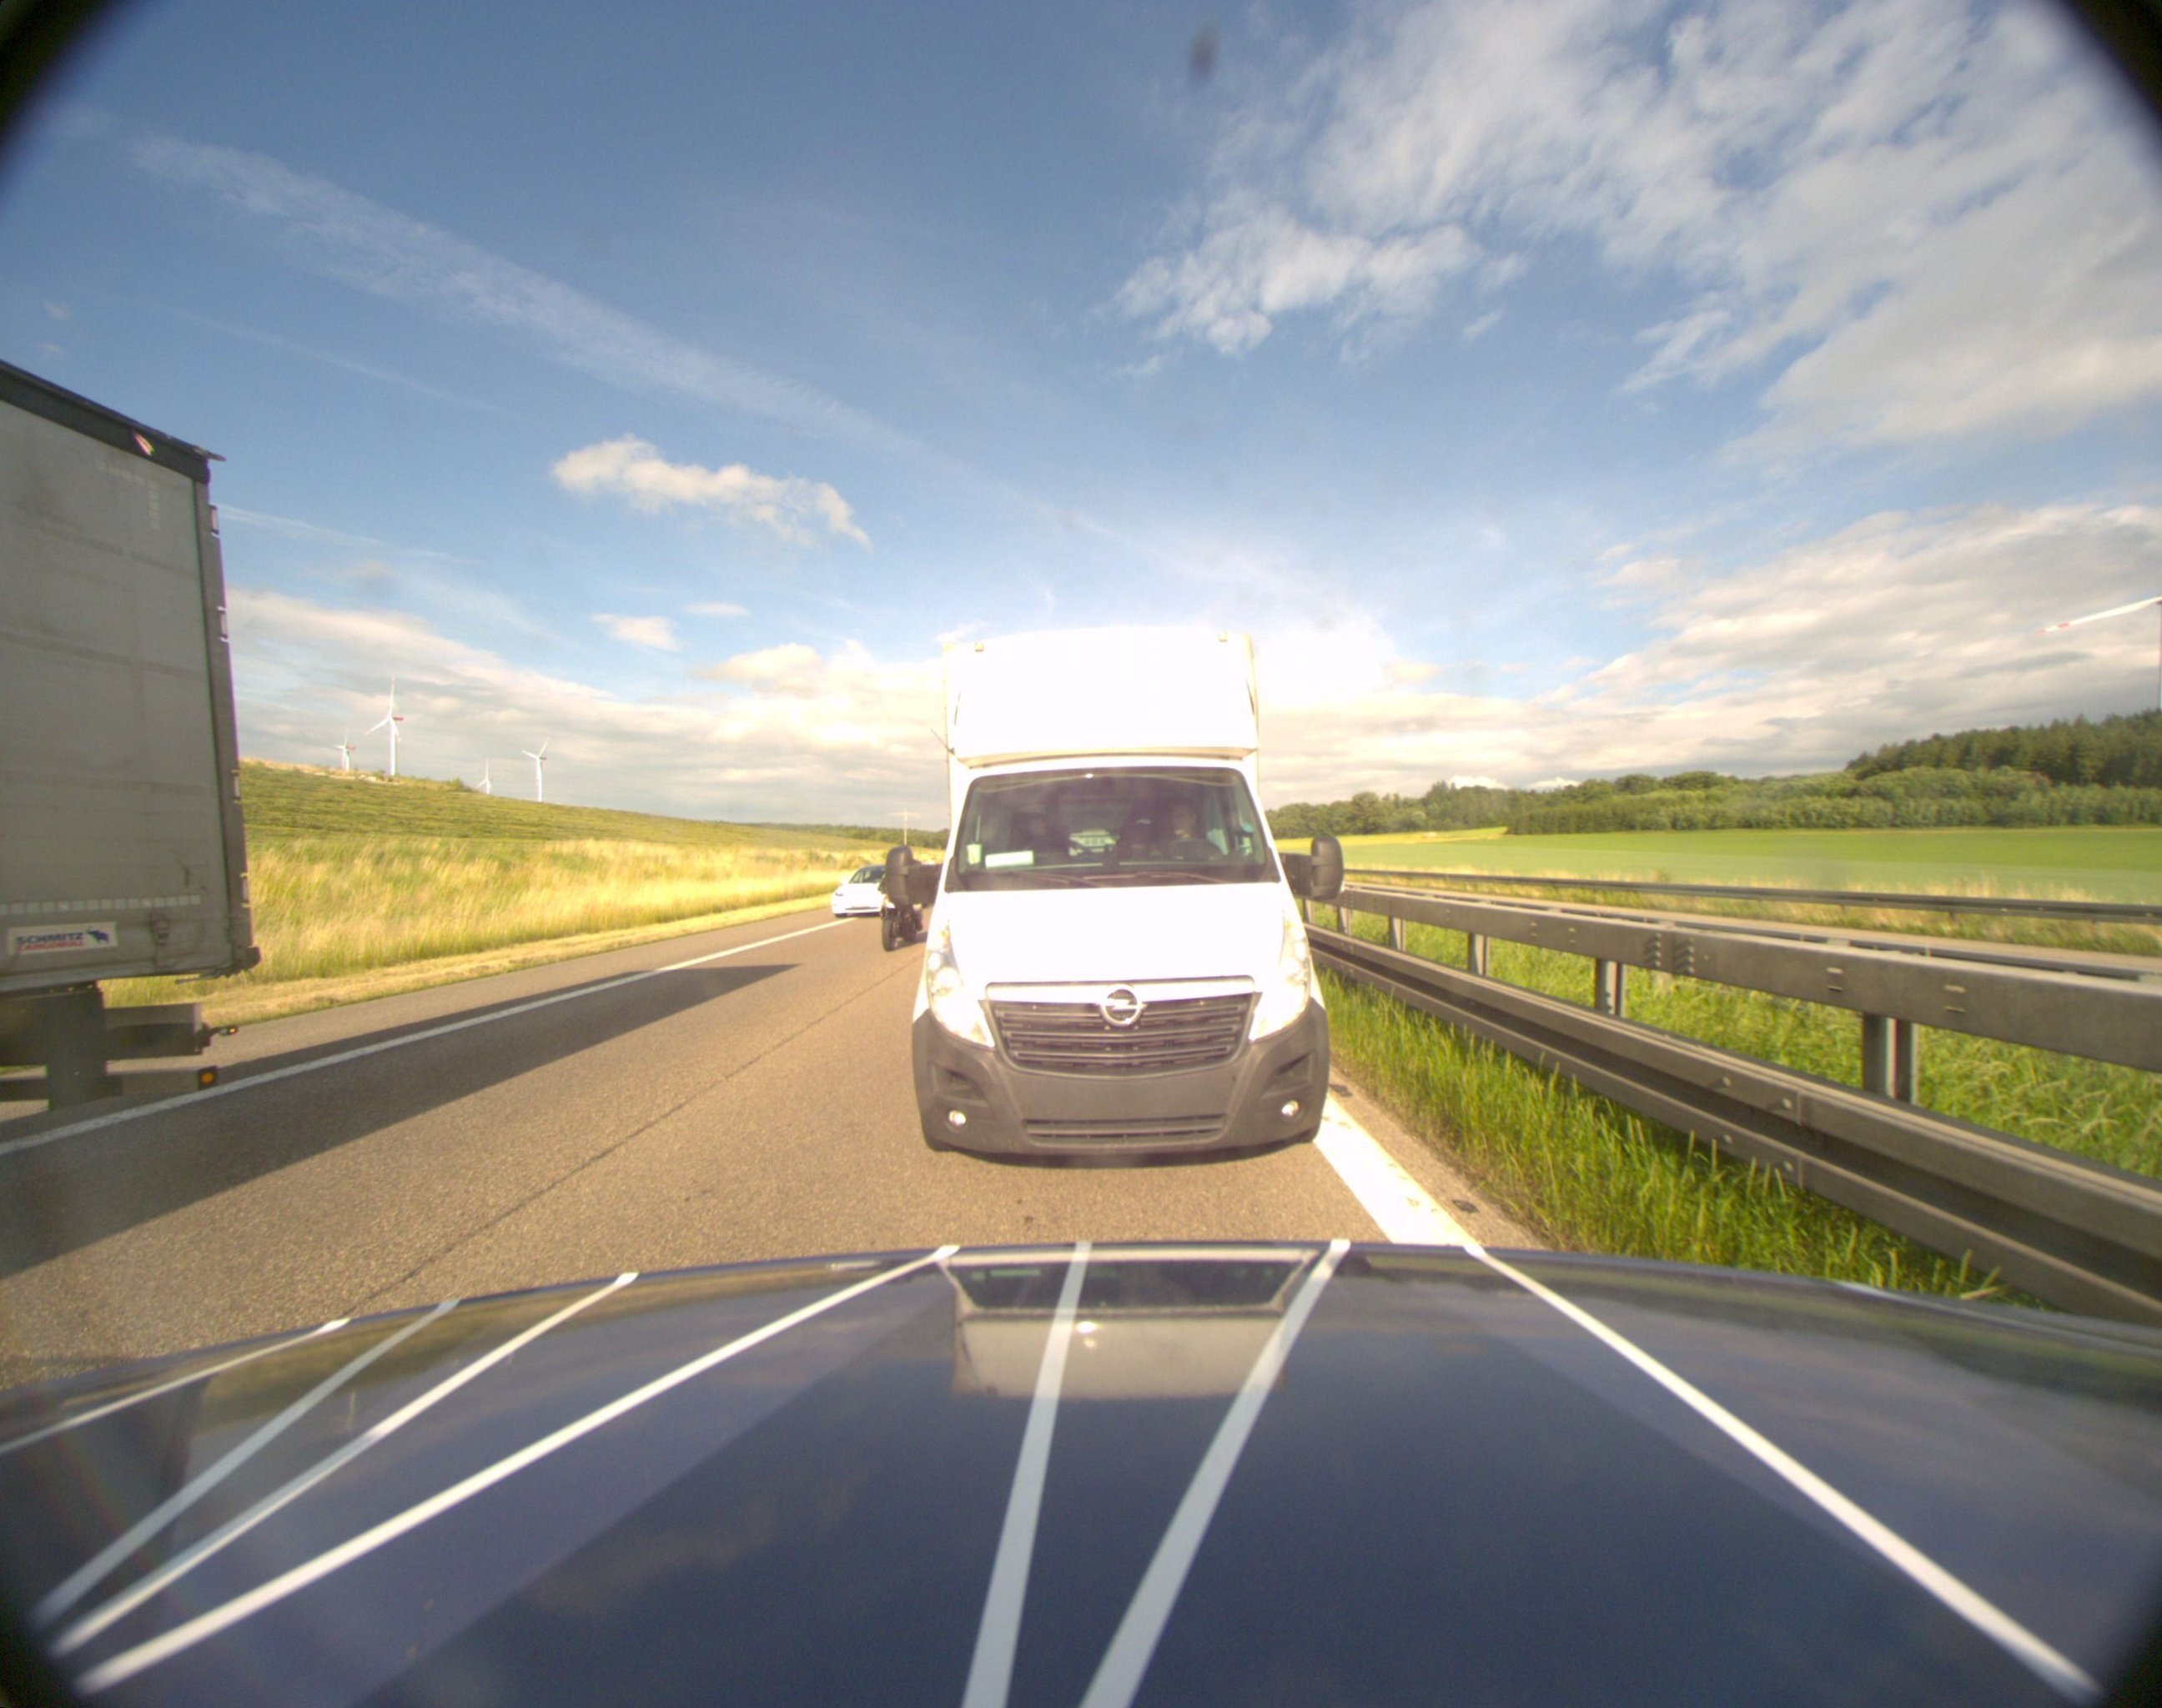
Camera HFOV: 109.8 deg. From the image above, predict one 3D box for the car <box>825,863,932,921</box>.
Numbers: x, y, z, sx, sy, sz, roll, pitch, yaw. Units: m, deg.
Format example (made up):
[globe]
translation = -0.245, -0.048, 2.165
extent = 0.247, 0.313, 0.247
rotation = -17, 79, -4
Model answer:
[car]
translation = -5.819, 1.036, 22.418
extent = 1.871, 1.409, 4.461
rotation = -1, 1, 1

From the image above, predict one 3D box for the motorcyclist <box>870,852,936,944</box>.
[motorcyclist]
translation = -3.074, 0.743, 13.185
extent = 0.898, 1.520, 0.863
rotation = -1, 1, 0

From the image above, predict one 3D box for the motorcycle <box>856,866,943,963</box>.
[motorcycle]
translation = -3.075, 0.970, 13.141
extent = 0.898, 1.447, 2.269
rotation = -1, 1, 0

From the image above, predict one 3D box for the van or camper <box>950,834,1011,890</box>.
[van or camper]
translation = -4.974, 0.339, 38.477
extent = 2.102, 2.530, 6.412
rotation = -1, 1, 1

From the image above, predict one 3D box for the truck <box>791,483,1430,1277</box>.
[truck]
translation = 0.115, 0.118, 8.647
extent = 2.502, 3.141, 11.162
rotation = -1, 0, 0
